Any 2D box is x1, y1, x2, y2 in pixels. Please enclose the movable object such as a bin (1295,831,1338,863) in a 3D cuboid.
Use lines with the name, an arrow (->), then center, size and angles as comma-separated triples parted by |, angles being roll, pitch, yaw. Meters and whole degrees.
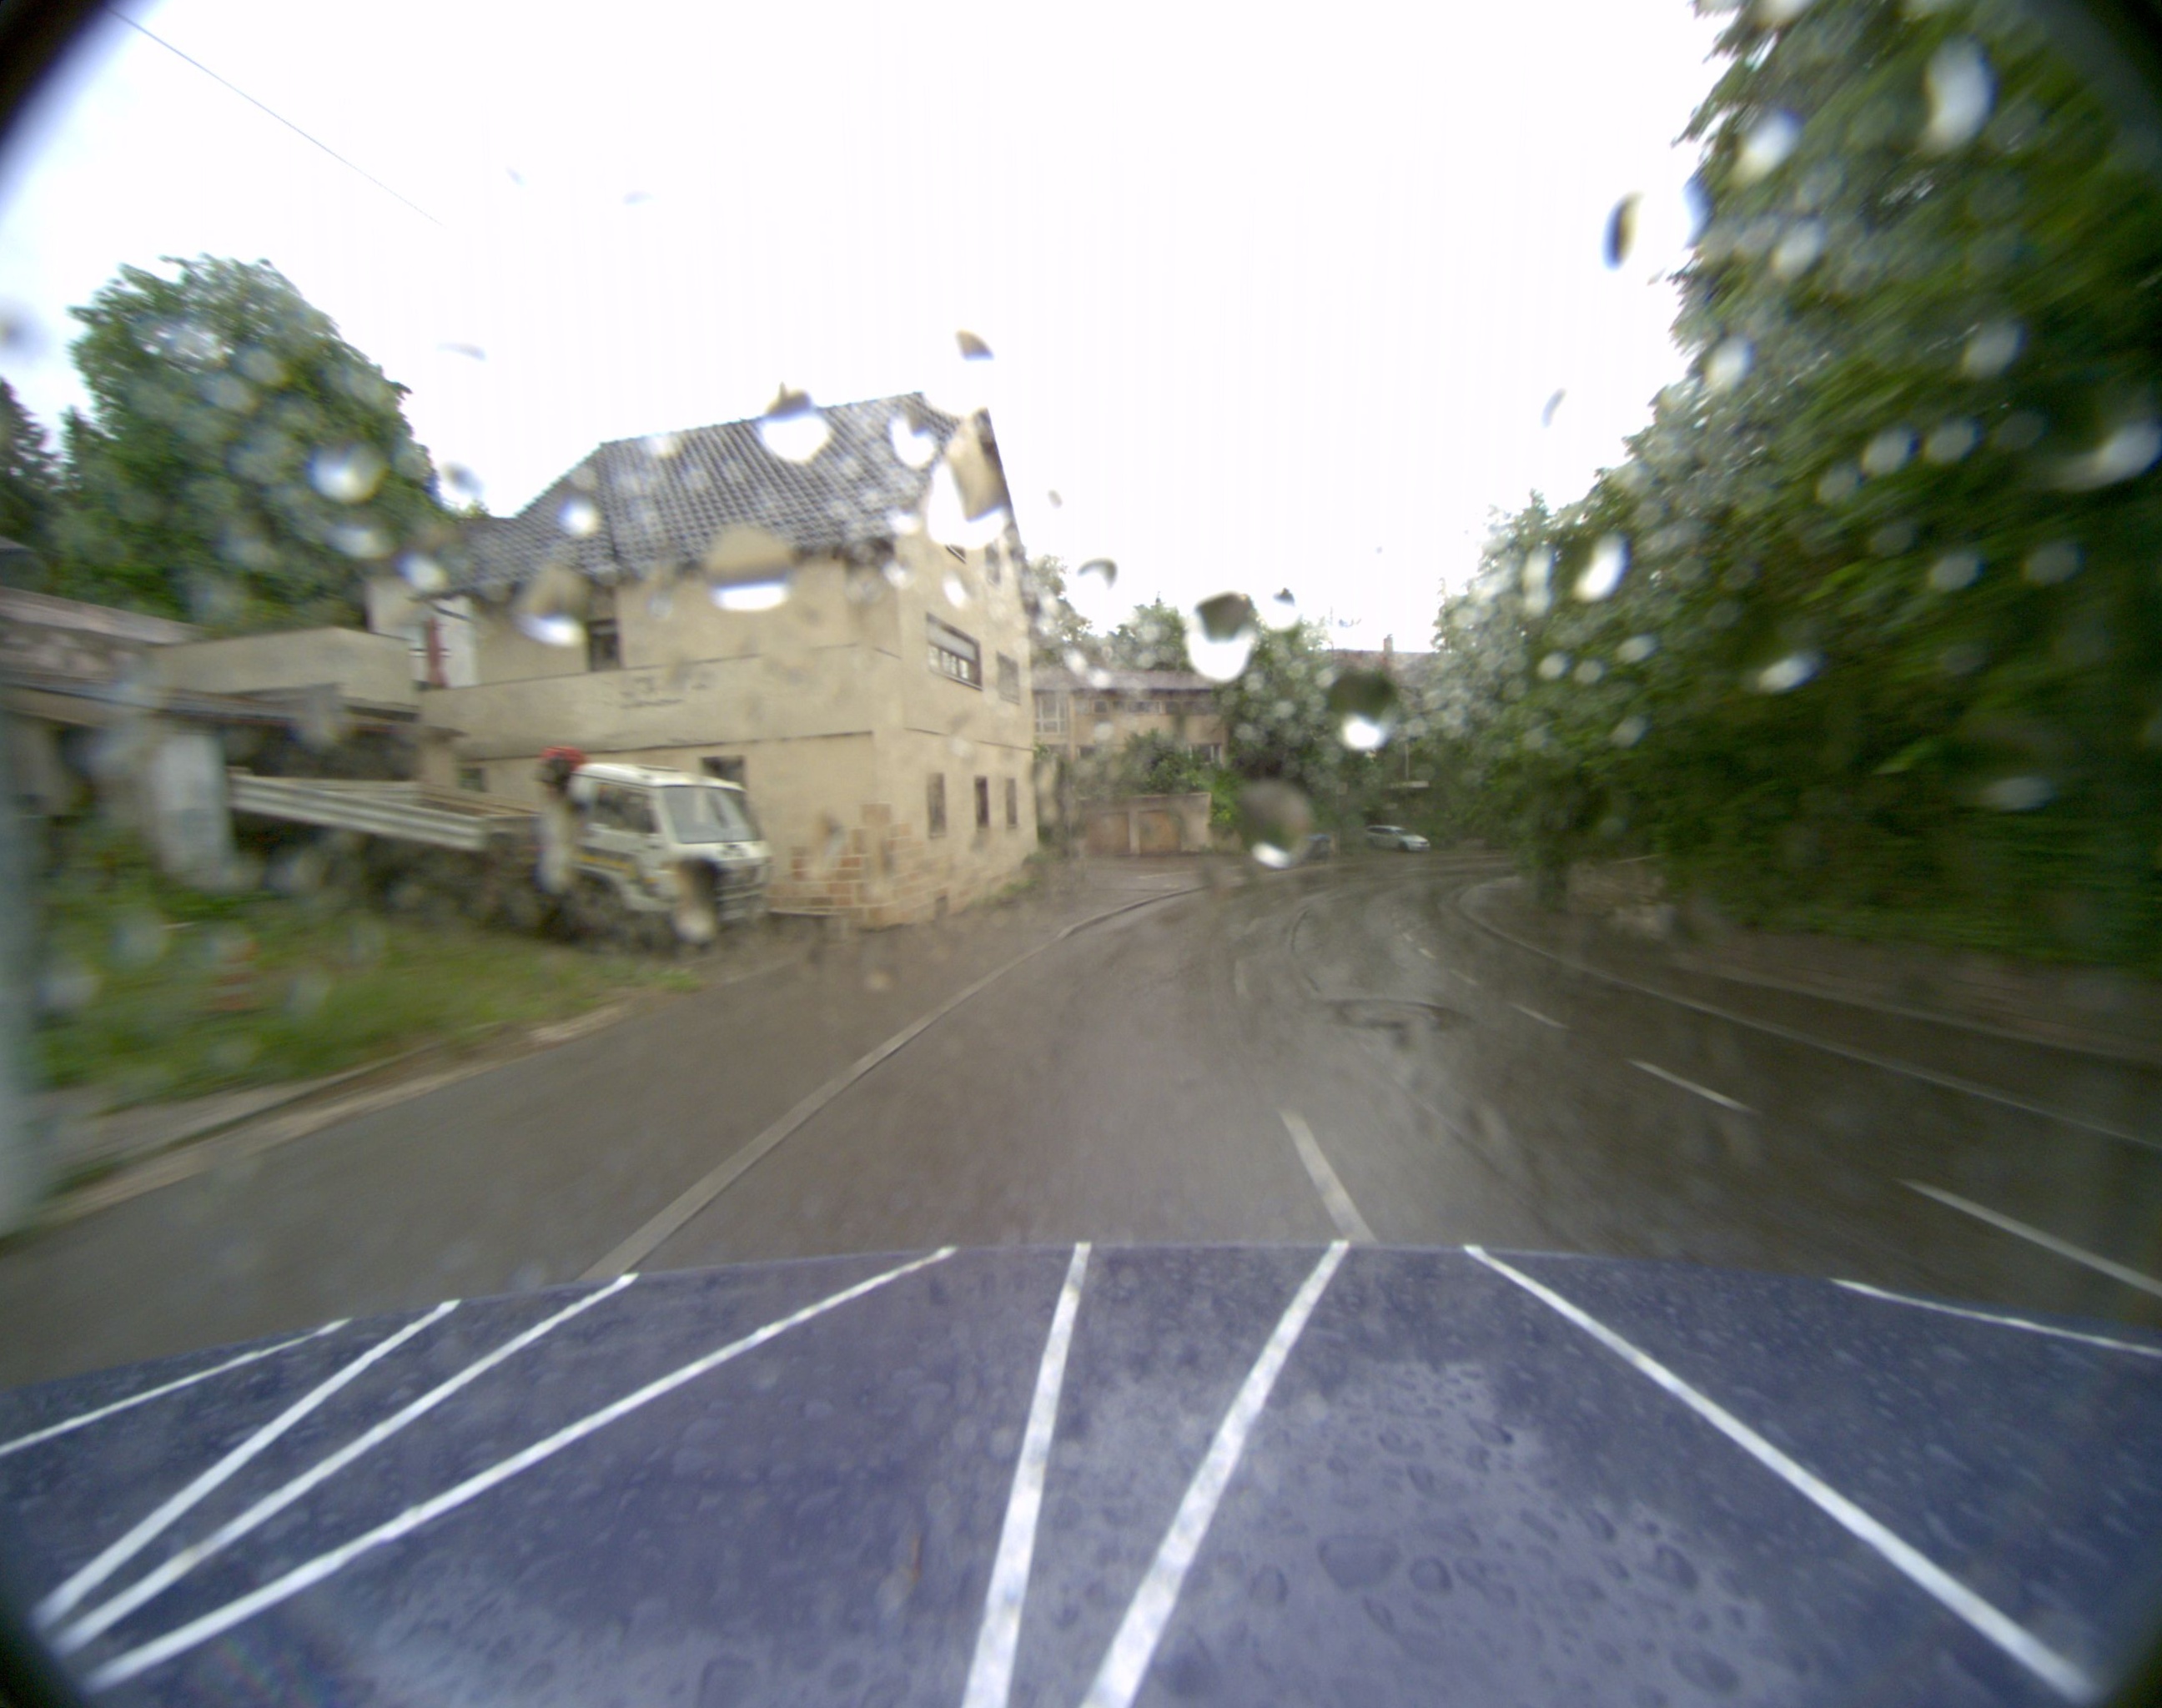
movable object such as a bin -> 11.418, -0.343, 36.849 | 1.487, 1.402, 1.156 | -1, 7, -26

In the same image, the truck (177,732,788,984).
truck -> -7.767, -0.035, 10.128 | 6.968, 2.687, 2.142 | 3, 1, 8

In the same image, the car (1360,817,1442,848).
car -> 20.466, -1.420, 48.779 | 2.003, 1.546, 4.550 | -2, 8, -26
